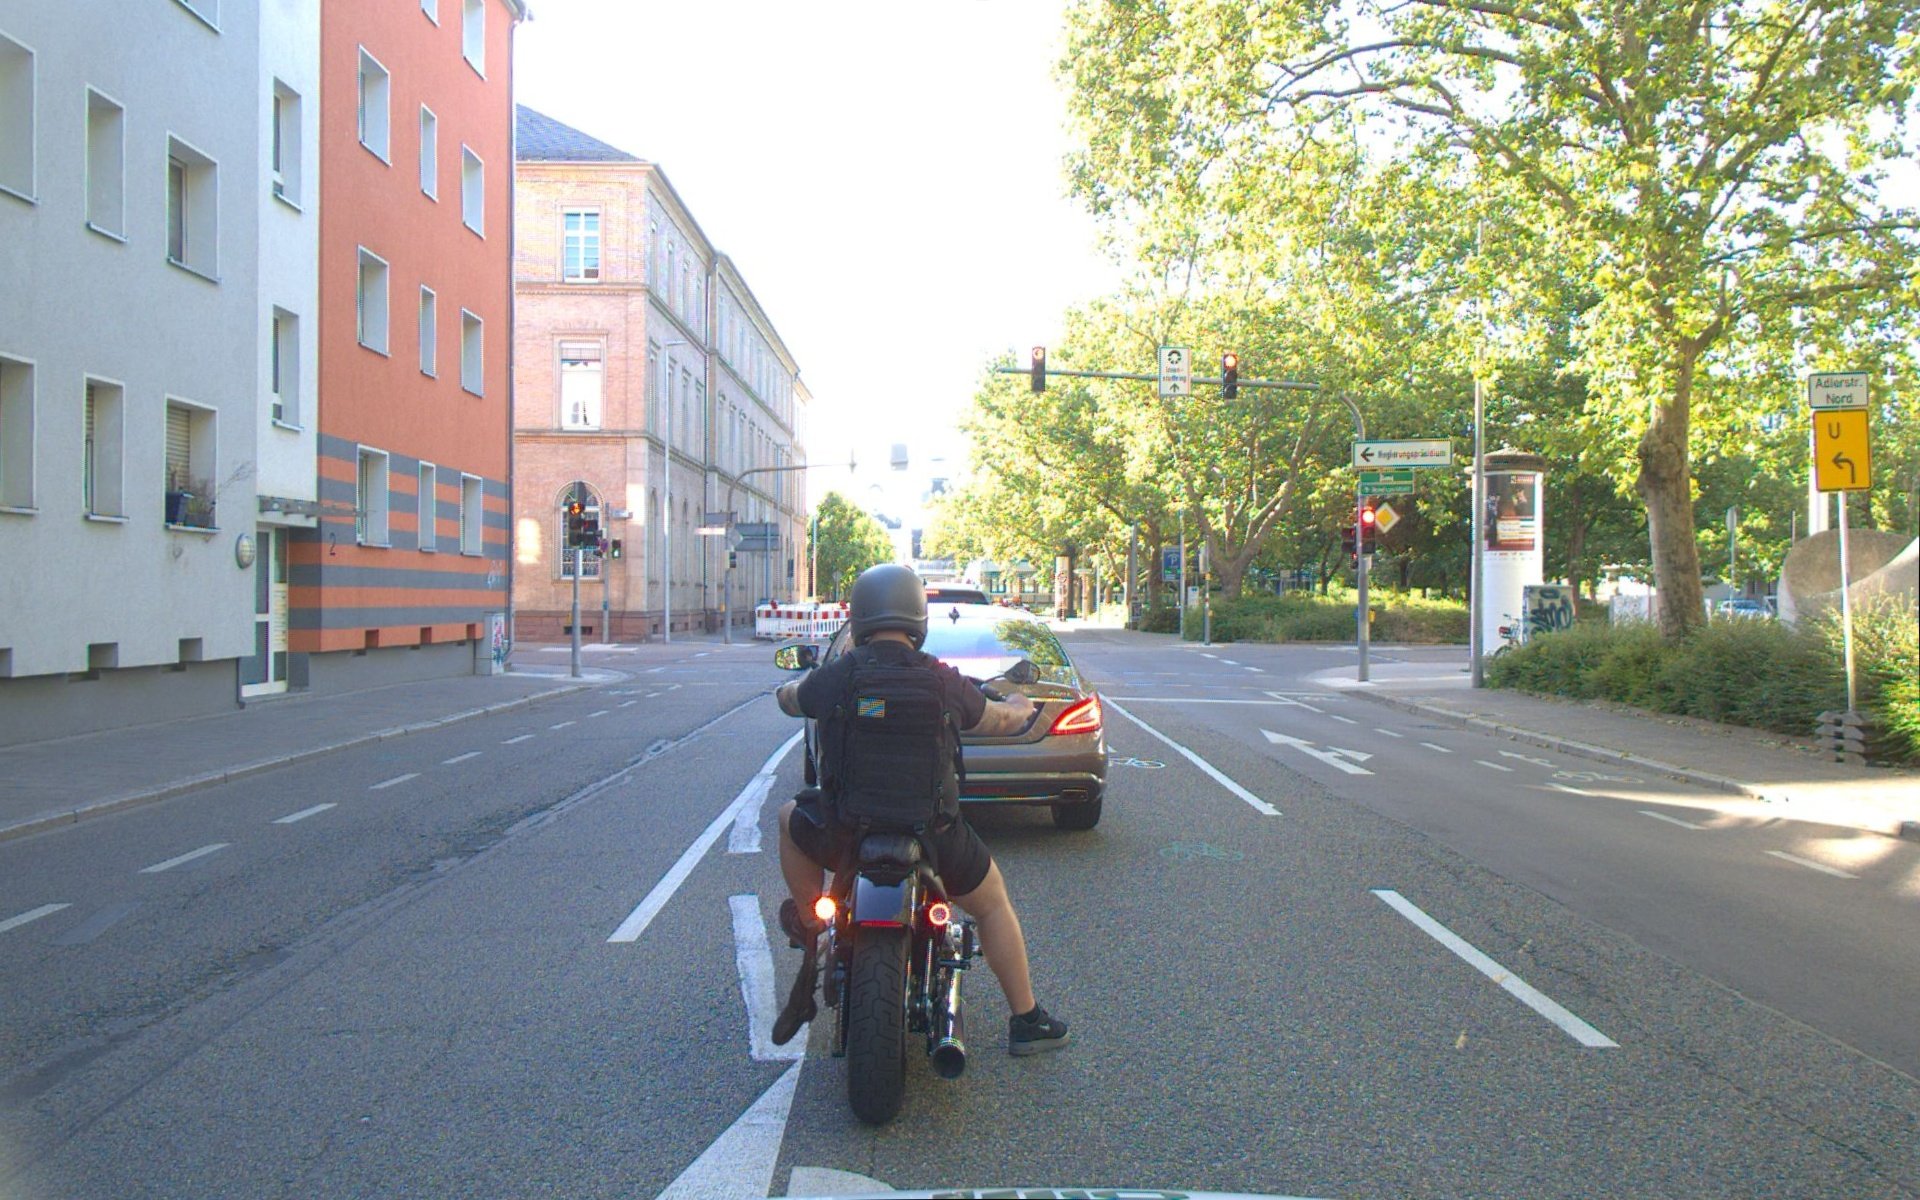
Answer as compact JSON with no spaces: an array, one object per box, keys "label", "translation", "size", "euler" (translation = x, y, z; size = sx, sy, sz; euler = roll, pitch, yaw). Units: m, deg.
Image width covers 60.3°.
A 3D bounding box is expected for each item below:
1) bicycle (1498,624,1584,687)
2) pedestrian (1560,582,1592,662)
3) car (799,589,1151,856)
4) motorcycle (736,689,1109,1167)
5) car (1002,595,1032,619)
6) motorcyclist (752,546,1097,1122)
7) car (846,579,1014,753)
[{"label":"bicycle","translation":[9.754,0.922,27.791],"size":[1.324,1.041,0.363],"euler":[0,0,0]},{"label":"pedestrian","translation":[14.486,0.515,38.922],"size":[0.540,1.881,0.593],"euler":[0,0,0]},{"label":"car","translation":[-0.111,0.679,11.572],"size":[1.909,1.498,4.355],"euler":[0,0,-7]},{"label":"motorcycle","translation":[-0.115,0.920,5.532],"size":[0.969,1.097,2.451],"euler":[0,0,-1]},{"label":"car","translation":[3.639,0.447,106.336],"size":[1.784,1.506,3.908],"euler":[-1,0,0]},{"label":"motorcyclist","translation":[-0.110,0.657,5.378],"size":[0.969,1.625,1.403],"euler":[0,0,-1]},{"label":"car","translation":[-0.334,0.614,17.735],"size":[1.580,1.636,4.327],"euler":[0,0,-2]}]
